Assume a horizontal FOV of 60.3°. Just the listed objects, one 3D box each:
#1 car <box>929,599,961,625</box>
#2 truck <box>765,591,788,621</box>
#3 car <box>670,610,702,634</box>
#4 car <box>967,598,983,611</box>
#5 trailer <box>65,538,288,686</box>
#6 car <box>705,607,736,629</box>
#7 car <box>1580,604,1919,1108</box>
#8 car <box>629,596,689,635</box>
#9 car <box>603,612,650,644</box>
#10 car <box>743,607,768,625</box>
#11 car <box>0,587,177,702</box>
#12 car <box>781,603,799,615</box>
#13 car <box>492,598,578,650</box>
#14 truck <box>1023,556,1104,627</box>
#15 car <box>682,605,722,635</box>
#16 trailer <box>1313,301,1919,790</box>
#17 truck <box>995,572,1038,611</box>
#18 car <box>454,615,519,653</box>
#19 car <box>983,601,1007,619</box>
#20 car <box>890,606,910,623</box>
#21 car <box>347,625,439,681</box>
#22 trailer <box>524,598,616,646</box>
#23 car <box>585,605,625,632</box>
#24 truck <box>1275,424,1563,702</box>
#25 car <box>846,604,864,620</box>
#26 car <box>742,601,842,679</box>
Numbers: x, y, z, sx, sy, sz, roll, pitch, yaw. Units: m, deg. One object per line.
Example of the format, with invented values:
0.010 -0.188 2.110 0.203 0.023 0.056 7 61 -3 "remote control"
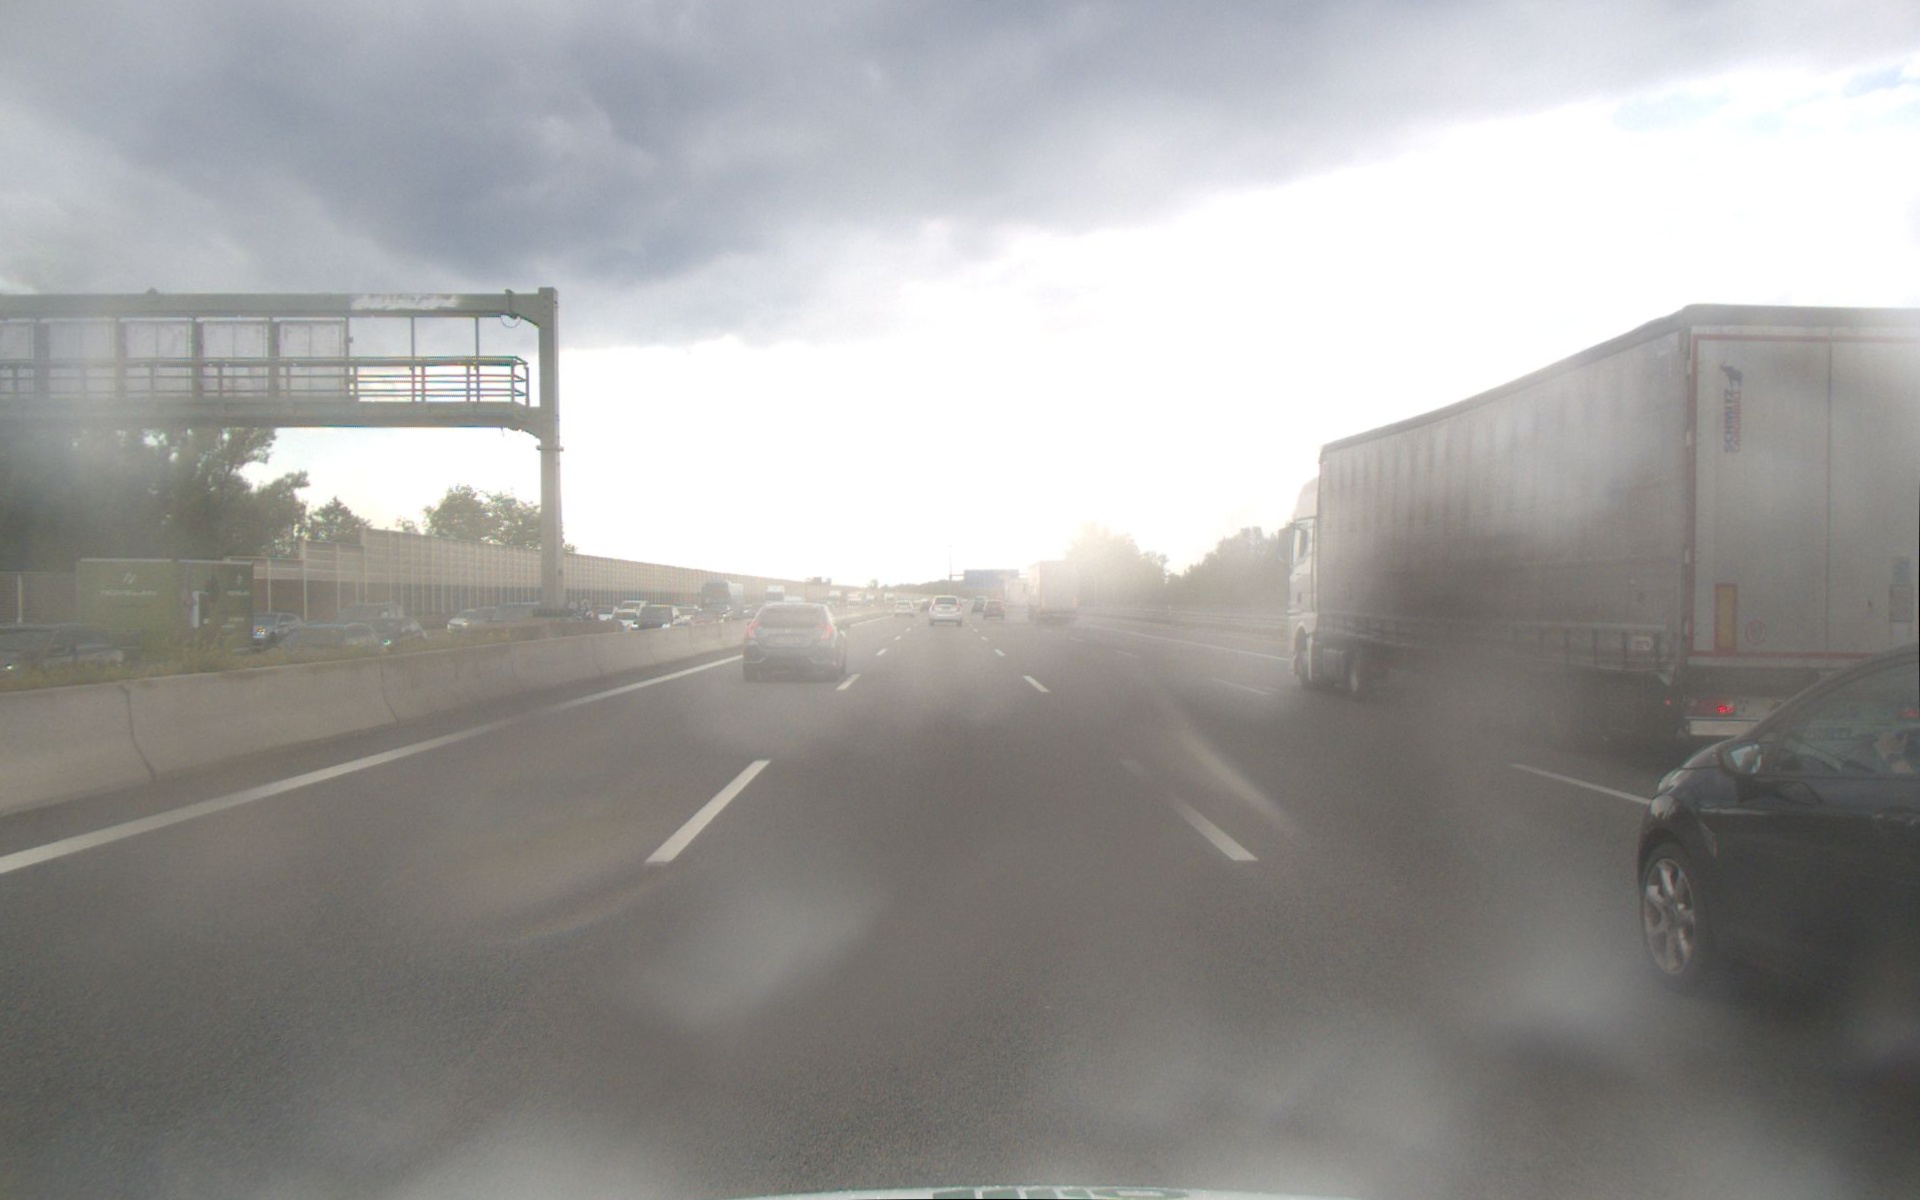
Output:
-0.927 0.724 98.266 1.737 1.466 4.053 0 0 -3 "car"
-25.320 0.785 228.814 2.524 4.004 5.177 1 0 0 "truck"
-19.252 1.526 116.258 1.587 1.607 3.619 -1 0 0 "car"
1.786 0.576 194.639 1.798 1.466 4.054 0 0 -1 "car"
-18.294 0.253 39.061 2.399 3.193 6.050 -1 0 0 "trailer"
-18.975 1.438 131.137 1.895 1.639 4.177 -1 0 0 "car"
3.507 0.758 5.775 1.418 1.466 3.162 0 0 -2 "car"
-14.384 0.724 79.236 1.841 1.775 5.110 -1 0 1 "car"
-18.371 1.530 91.281 1.712 1.659 4.165 -1 0 0 "car"
-18.775 1.467 151.874 1.711 1.552 4.927 -1 0 0 "car"
-18.258 0.804 32.939 2.399 2.087 6.193 -1 0 0 "car"
-21.966 1.131 213.942 1.711 1.552 5.140 -1 0 0 "car"
-14.815 0.801 57.897 1.779 1.739 4.806 -1 0 0 "car"
6.728 -0.577 109.982 4.096 4.363 12.607 1 0 -2 "truck"
-14.828 1.159 95.314 1.712 1.659 3.748 -1 0 0 "car"
7.529 -0.512 20.957 2.901 4.090 14.116 0 0 -1 "trailer"
6.429 -1.009 189.630 4.158 4.249 11.986 1 0 -1 "truck"
-22.085 1.546 77.355 1.784 1.659 4.525 -1 0 -1 "car"
2.874 0.828 136.665 1.798 1.466 4.054 0 0 -1 "car"
-5.386 1.256 147.360 1.737 1.466 3.872 0 0 -3 "car"
-17.836 1.635 52.185 1.648 1.605 3.874 -1 0 -2 "car"
-14.839 0.808 63.322 2.100 1.739 6.045 -1 0 0 "trailer"
-22.401 1.149 104.523 1.712 1.659 4.643 -1 0 -2 "car"
7.425 -0.575 27.772 2.901 4.090 6.587 0 0 -1 "truck"
-14.687 1.642 231.785 2.115 2.107 6.014 -1 0 0 "car"
-3.269 0.737 33.008 1.725 1.393 5.057 0 0 -3 "car"
